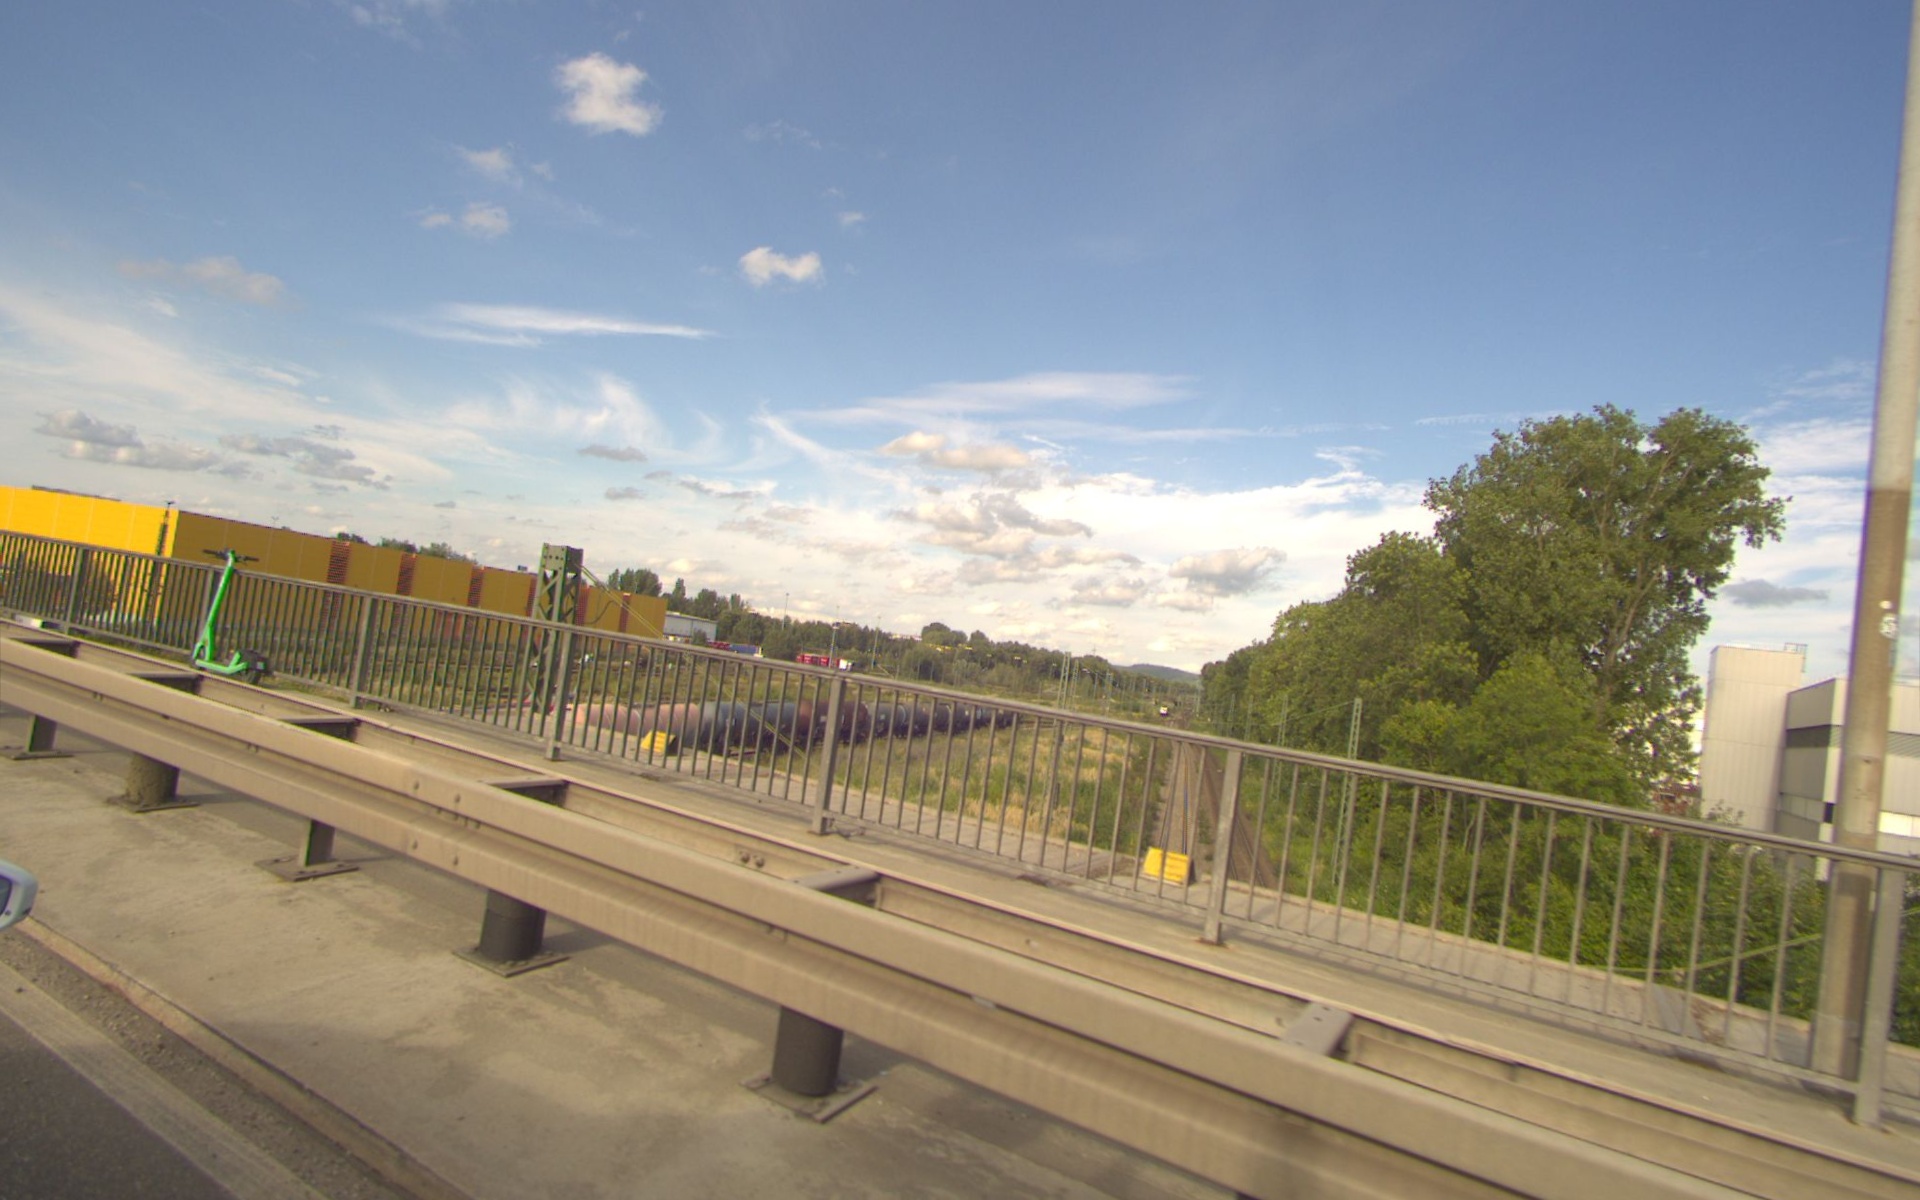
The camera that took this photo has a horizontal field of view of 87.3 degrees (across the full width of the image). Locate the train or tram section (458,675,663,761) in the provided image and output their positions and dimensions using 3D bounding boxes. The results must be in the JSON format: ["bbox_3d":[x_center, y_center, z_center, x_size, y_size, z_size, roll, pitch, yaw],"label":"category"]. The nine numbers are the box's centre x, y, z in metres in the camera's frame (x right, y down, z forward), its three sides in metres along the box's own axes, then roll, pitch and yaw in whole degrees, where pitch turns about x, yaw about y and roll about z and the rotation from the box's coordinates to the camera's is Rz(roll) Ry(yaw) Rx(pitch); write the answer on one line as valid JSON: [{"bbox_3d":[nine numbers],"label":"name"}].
[{"bbox_3d":[-25.721,7.481,66.825,3.037,4.194,17.319,7,-1,13],"label":"train or tram section"}]

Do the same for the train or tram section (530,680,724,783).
[{"bbox_3d":[-20.183,7.814,63.199,3.037,4.768,16.765,7,-1,12],"label":"train or tram section"}]

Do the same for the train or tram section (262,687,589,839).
[{"bbox_3d":[-23.571,6.949,46.806,3.037,4.768,16.765,7,-1,12],"label":"train or tram section"}]

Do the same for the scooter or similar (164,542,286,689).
[{"bbox_3d":[-6.616,0.129,9.049,1.167,1.176,0.266,7,0,26],"label":"scooter or similar"}]

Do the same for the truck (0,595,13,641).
[{"bbox_3d":[-81.501,1.229,80.826,2.616,3.660,7.239,9,-1,14],"label":"truck"}]

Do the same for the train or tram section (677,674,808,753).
[{"bbox_3d":[-16.718,8.652,79.639,3.037,4.768,16.765,7,-1,12],"label":"train or tram section"}]
